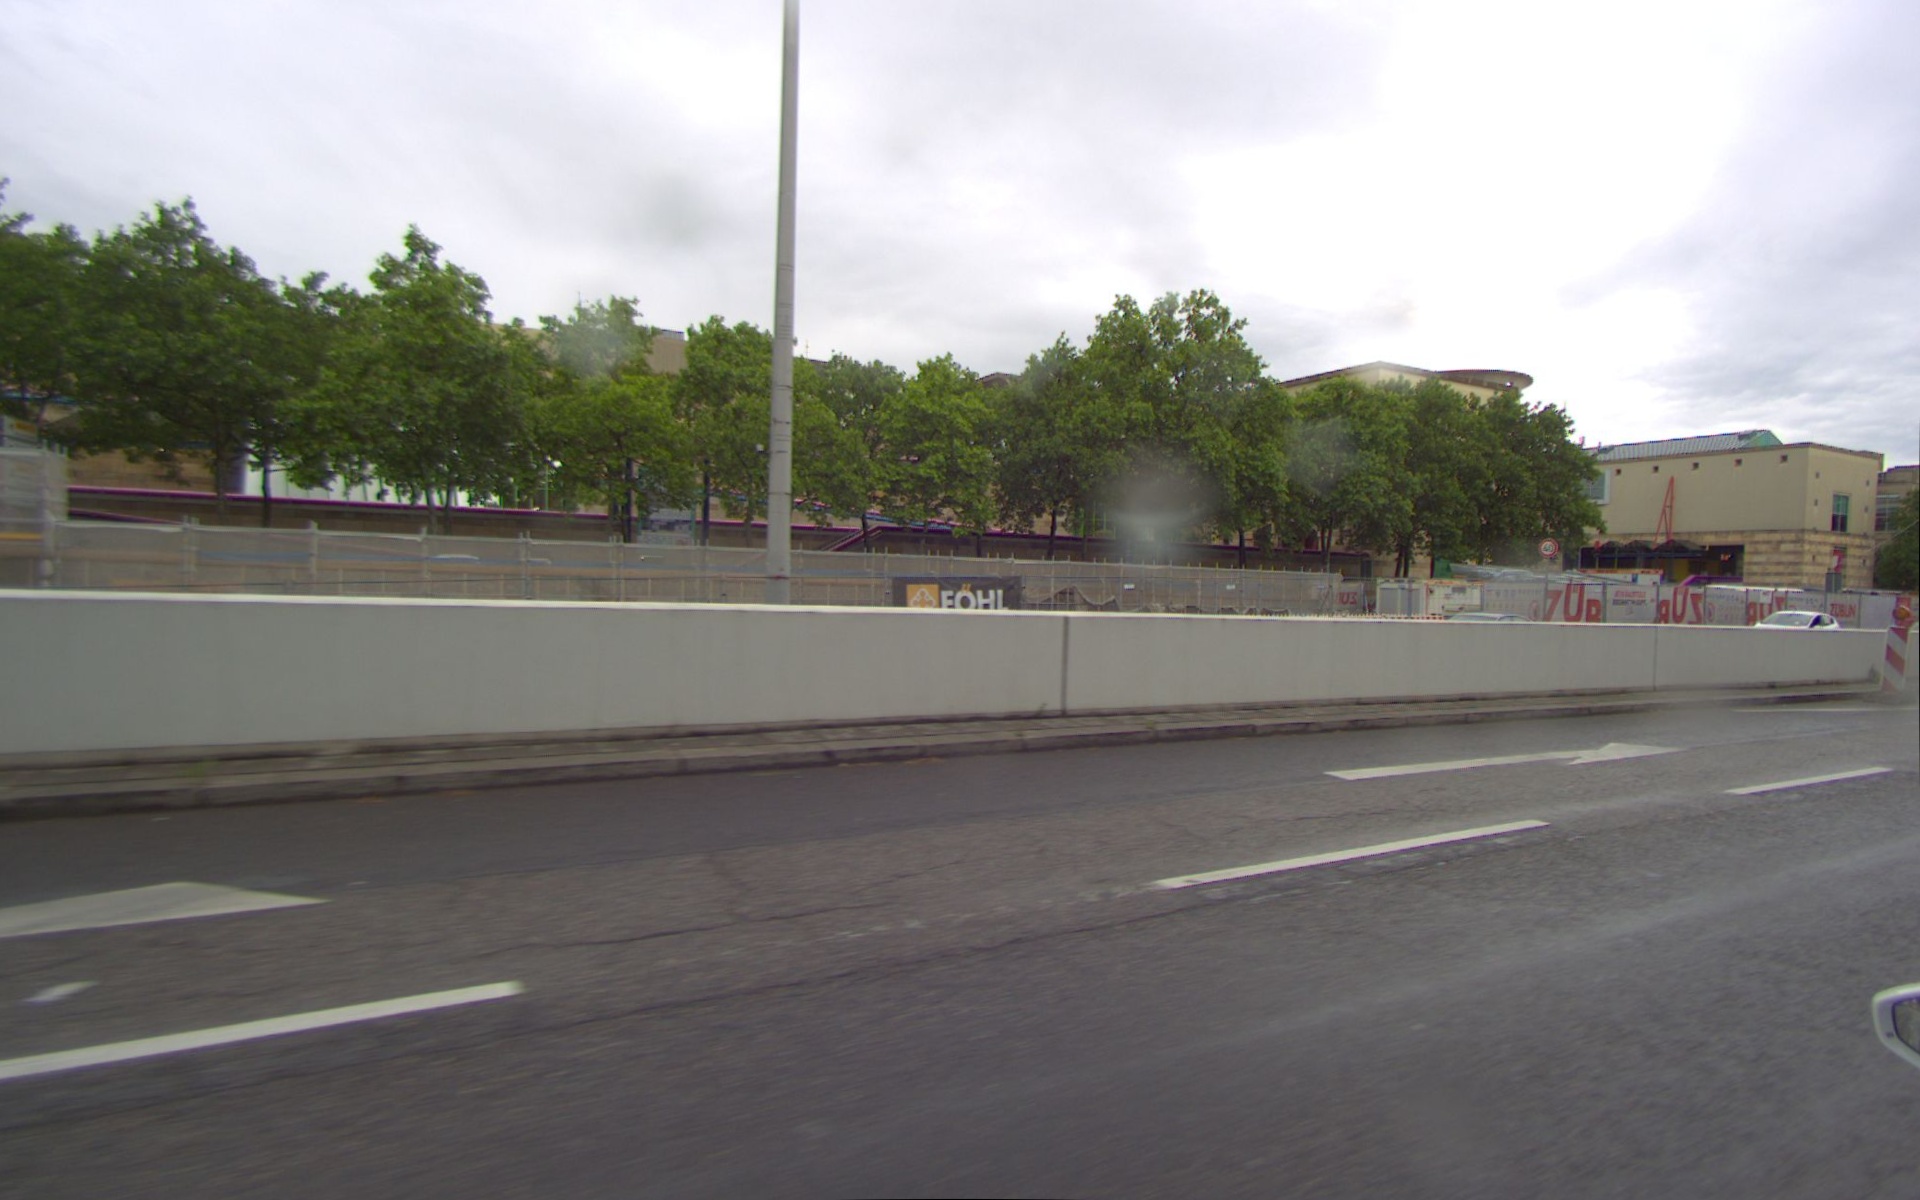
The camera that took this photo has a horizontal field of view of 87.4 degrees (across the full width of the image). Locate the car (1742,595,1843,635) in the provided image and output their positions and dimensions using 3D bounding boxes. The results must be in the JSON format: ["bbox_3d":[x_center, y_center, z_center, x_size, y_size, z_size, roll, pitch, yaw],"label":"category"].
[{"bbox_3d":[28.870,0.524,34.828,3.366,1.212,1.618,1,3,-31],"label":"car"}]

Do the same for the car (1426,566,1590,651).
[{"bbox_3d":[14.491,0.222,26.550,3.954,2.041,1.983,1,3,-31],"label":"car"}]
